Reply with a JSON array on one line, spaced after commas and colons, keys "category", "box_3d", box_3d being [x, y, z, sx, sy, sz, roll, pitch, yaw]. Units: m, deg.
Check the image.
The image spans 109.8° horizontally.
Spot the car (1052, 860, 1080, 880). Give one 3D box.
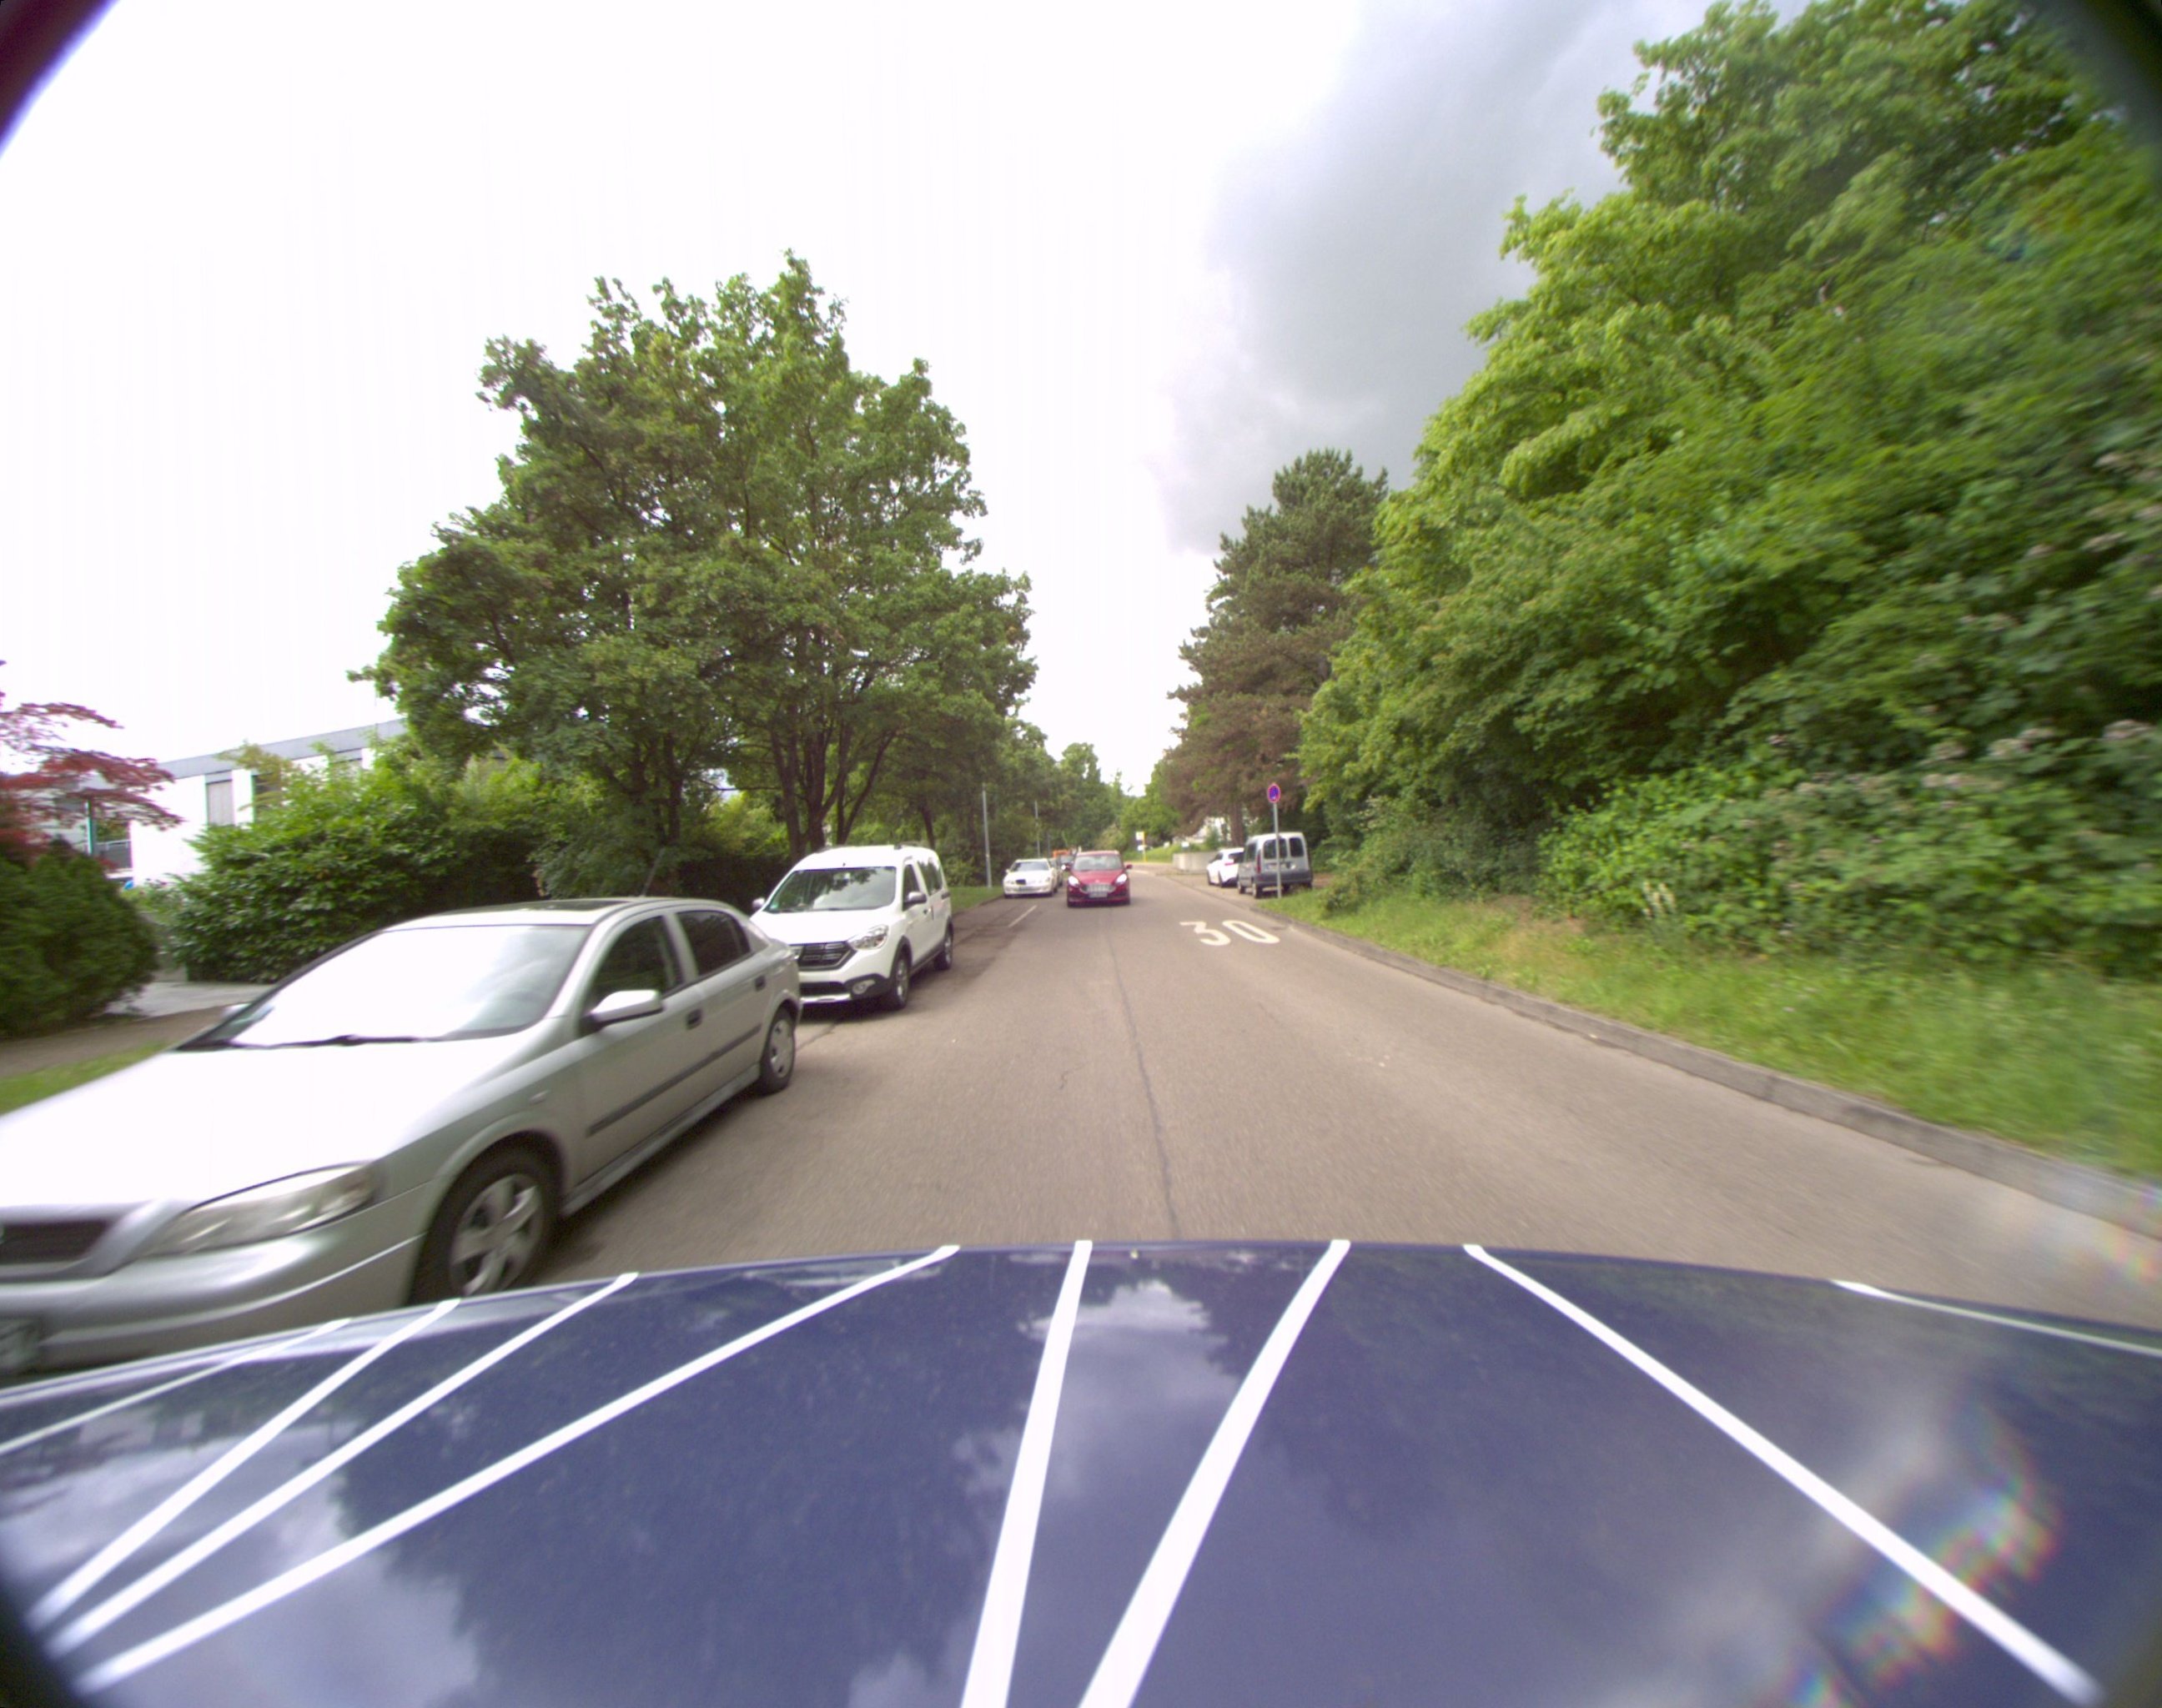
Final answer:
[{"category": "car", "box_3d": [-1.552, 1.543, 75.869, 2.000, 1.663, 3.996, -5, 2, -10]}]

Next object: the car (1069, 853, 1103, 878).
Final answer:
[{"category": "car", "box_3d": [0.363, 0.844, 58.326, 2.000, 1.684, 3.997, -5, 2, -7]}]

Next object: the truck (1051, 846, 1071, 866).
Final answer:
[{"category": "truck", "box_3d": [-2.613, 0.268, 101.749, 2.328, 2.455, 6.020, -5, 0, 1]}]

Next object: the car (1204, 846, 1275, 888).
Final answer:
[{"category": "car", "box_3d": [6.046, 0.468, 29.473, 1.810, 1.394, 4.372, -4, 0, 1]}]

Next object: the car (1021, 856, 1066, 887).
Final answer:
[{"category": "car", "box_3d": [-1.838, 0.847, 38.461, 1.797, 1.403, 4.059, -2, 0, 3]}]

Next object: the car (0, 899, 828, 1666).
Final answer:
[{"category": "car", "box_3d": [-2.932, 1.123, 3.800, 1.817, 1.429, 4.242, -4, 0, 0]}]

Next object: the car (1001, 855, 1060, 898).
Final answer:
[{"category": "car", "box_3d": [-1.946, 0.855, 30.929, 1.891, 1.498, 5.176, -2, 0, 1]}]

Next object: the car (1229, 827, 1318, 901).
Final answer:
[{"category": "car", "box_3d": [5.684, 0.284, 22.941, 1.725, 1.910, 4.106, -5, 0, 3]}]

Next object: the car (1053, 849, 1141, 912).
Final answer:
[{"category": "car", "box_3d": [0.370, 0.711, 22.904, 1.946, 1.550, 4.352, -5, 1, -7]}]

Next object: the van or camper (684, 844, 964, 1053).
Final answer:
[{"category": "van or camper", "box_3d": [-2.746, 0.866, 9.296, 1.806, 1.827, 4.319, -3, 2, 1]}]
